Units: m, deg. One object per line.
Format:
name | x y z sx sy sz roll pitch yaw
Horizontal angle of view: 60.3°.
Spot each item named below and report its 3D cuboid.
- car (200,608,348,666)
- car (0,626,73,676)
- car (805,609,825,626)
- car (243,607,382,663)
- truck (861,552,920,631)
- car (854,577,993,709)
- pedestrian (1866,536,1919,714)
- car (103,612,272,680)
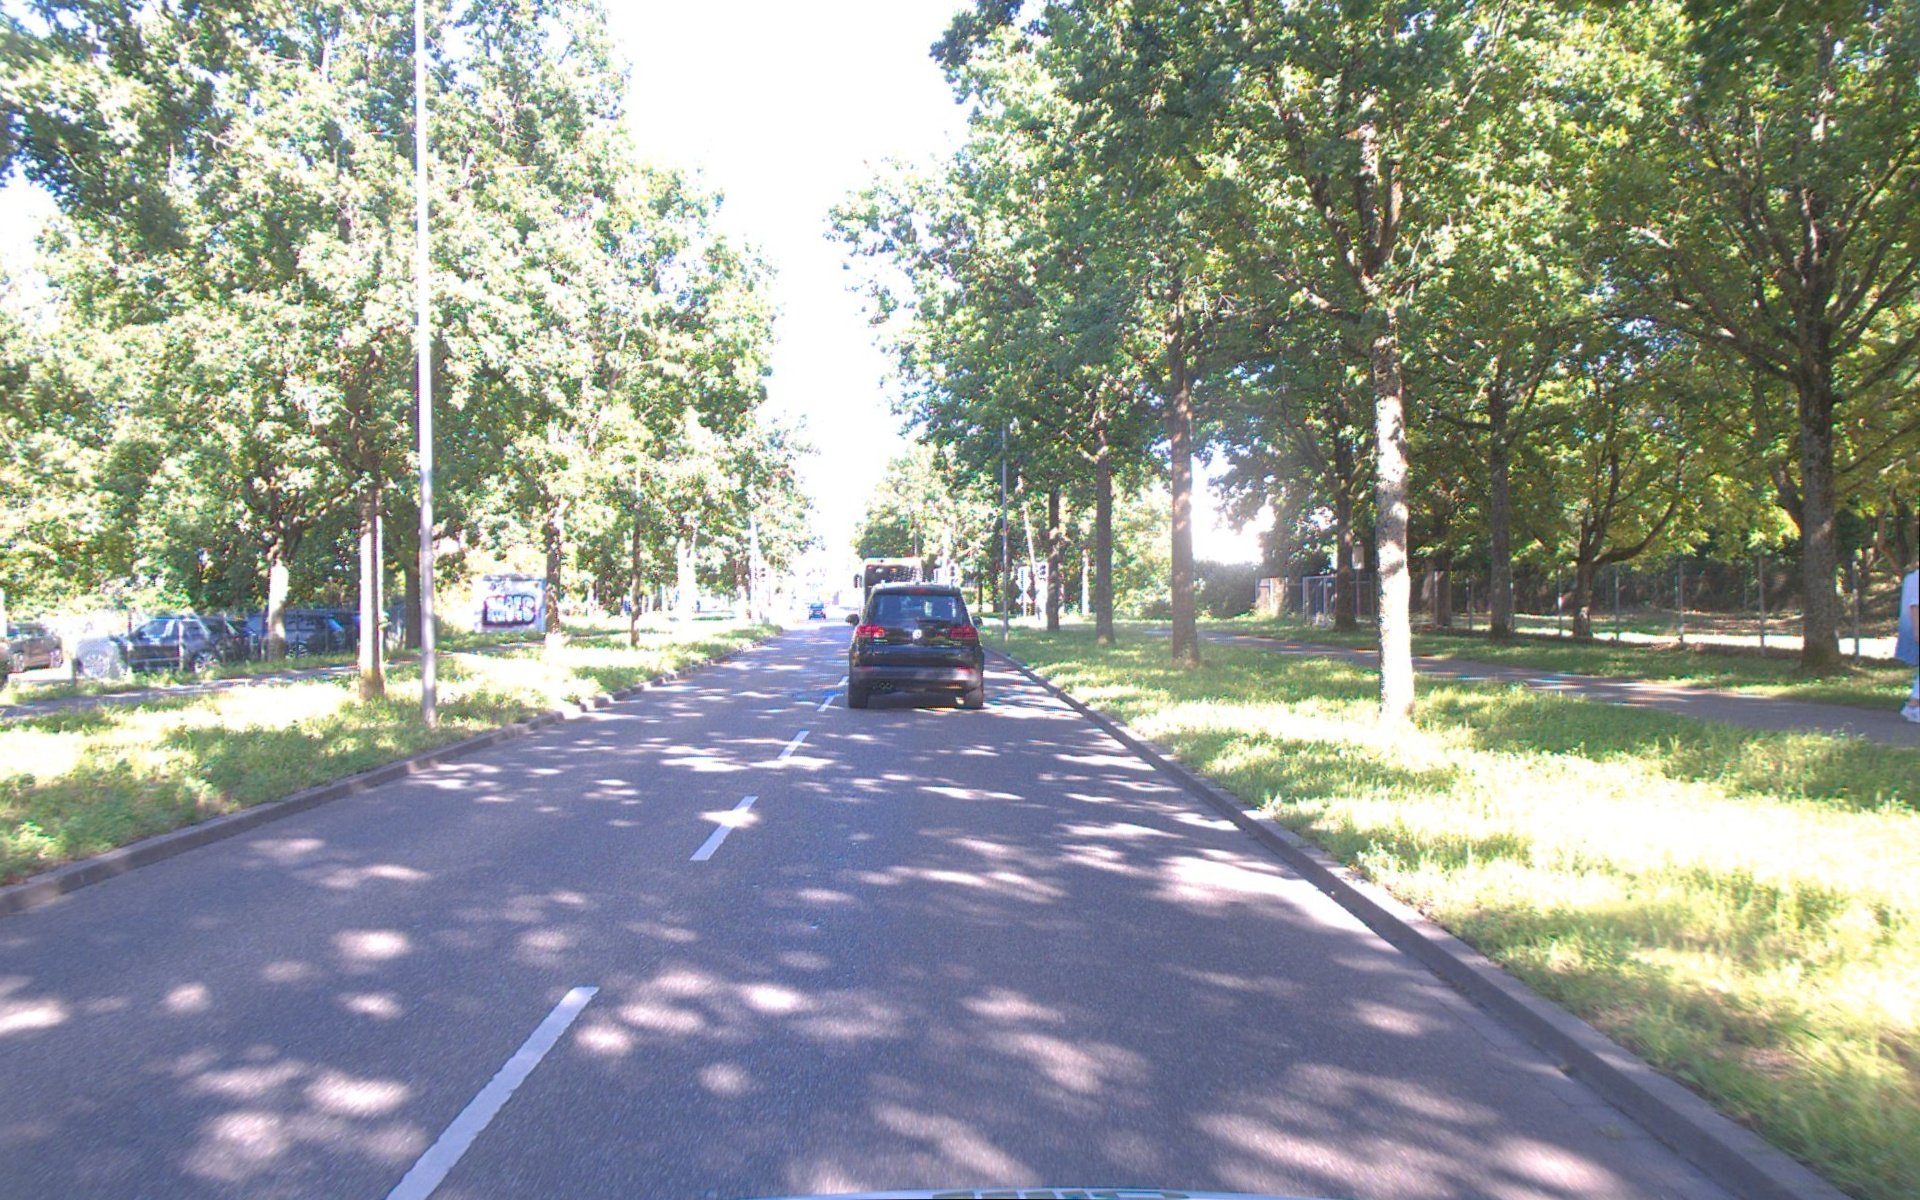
car | -22.822 1.224 55.131 4.110 1.833 1.997 1 0 -7
car | -33.010 1.745 57.752 1.956 1.594 4.877 1 0 -8
car | -13.500 1.616 153.818 1.533 1.531 3.999 1 0 -1
car | -22.636 1.212 57.993 4.110 1.833 1.997 1 0 -7
truck | -3.136 -0.362 74.148 2.462 3.300 8.147 -1 0 -3
car | -0.555 0.558 23.172 1.746 1.662 3.998 1 0 -3
pedestrian | 9.123 0.225 15.664 0.603 1.659 0.710 -3 1 -36
car | -22.069 1.304 47.383 3.913 1.833 1.996 1 0 -9
